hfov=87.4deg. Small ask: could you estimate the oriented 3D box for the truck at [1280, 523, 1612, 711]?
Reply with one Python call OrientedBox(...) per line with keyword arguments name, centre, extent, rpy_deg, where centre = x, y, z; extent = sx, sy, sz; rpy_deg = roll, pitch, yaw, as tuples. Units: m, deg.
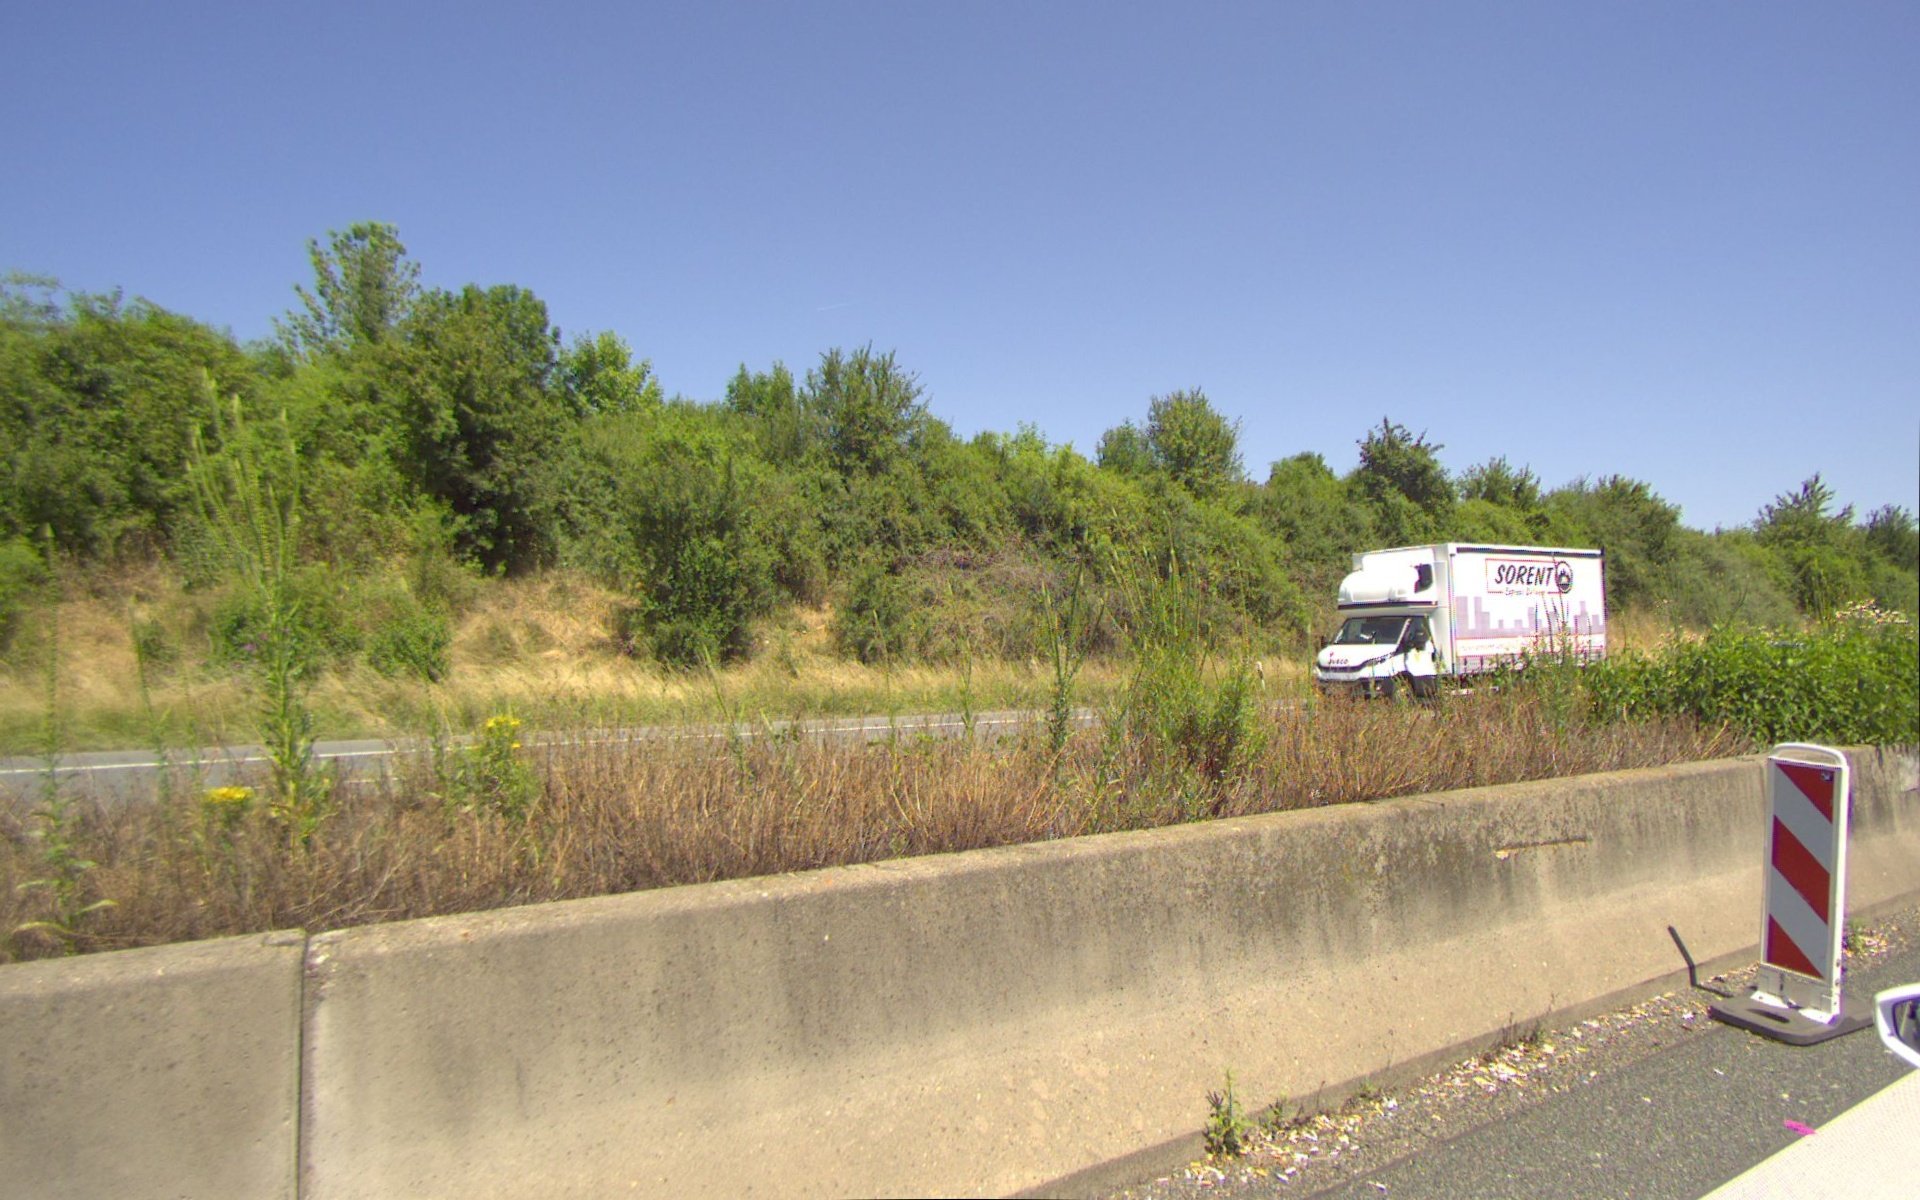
OrientedBox(name="truck", centre=(11.986, 0.540, 24.426), extent=(8.926, 3.938, 2.749), rpy_deg=(2, -4, -31))
